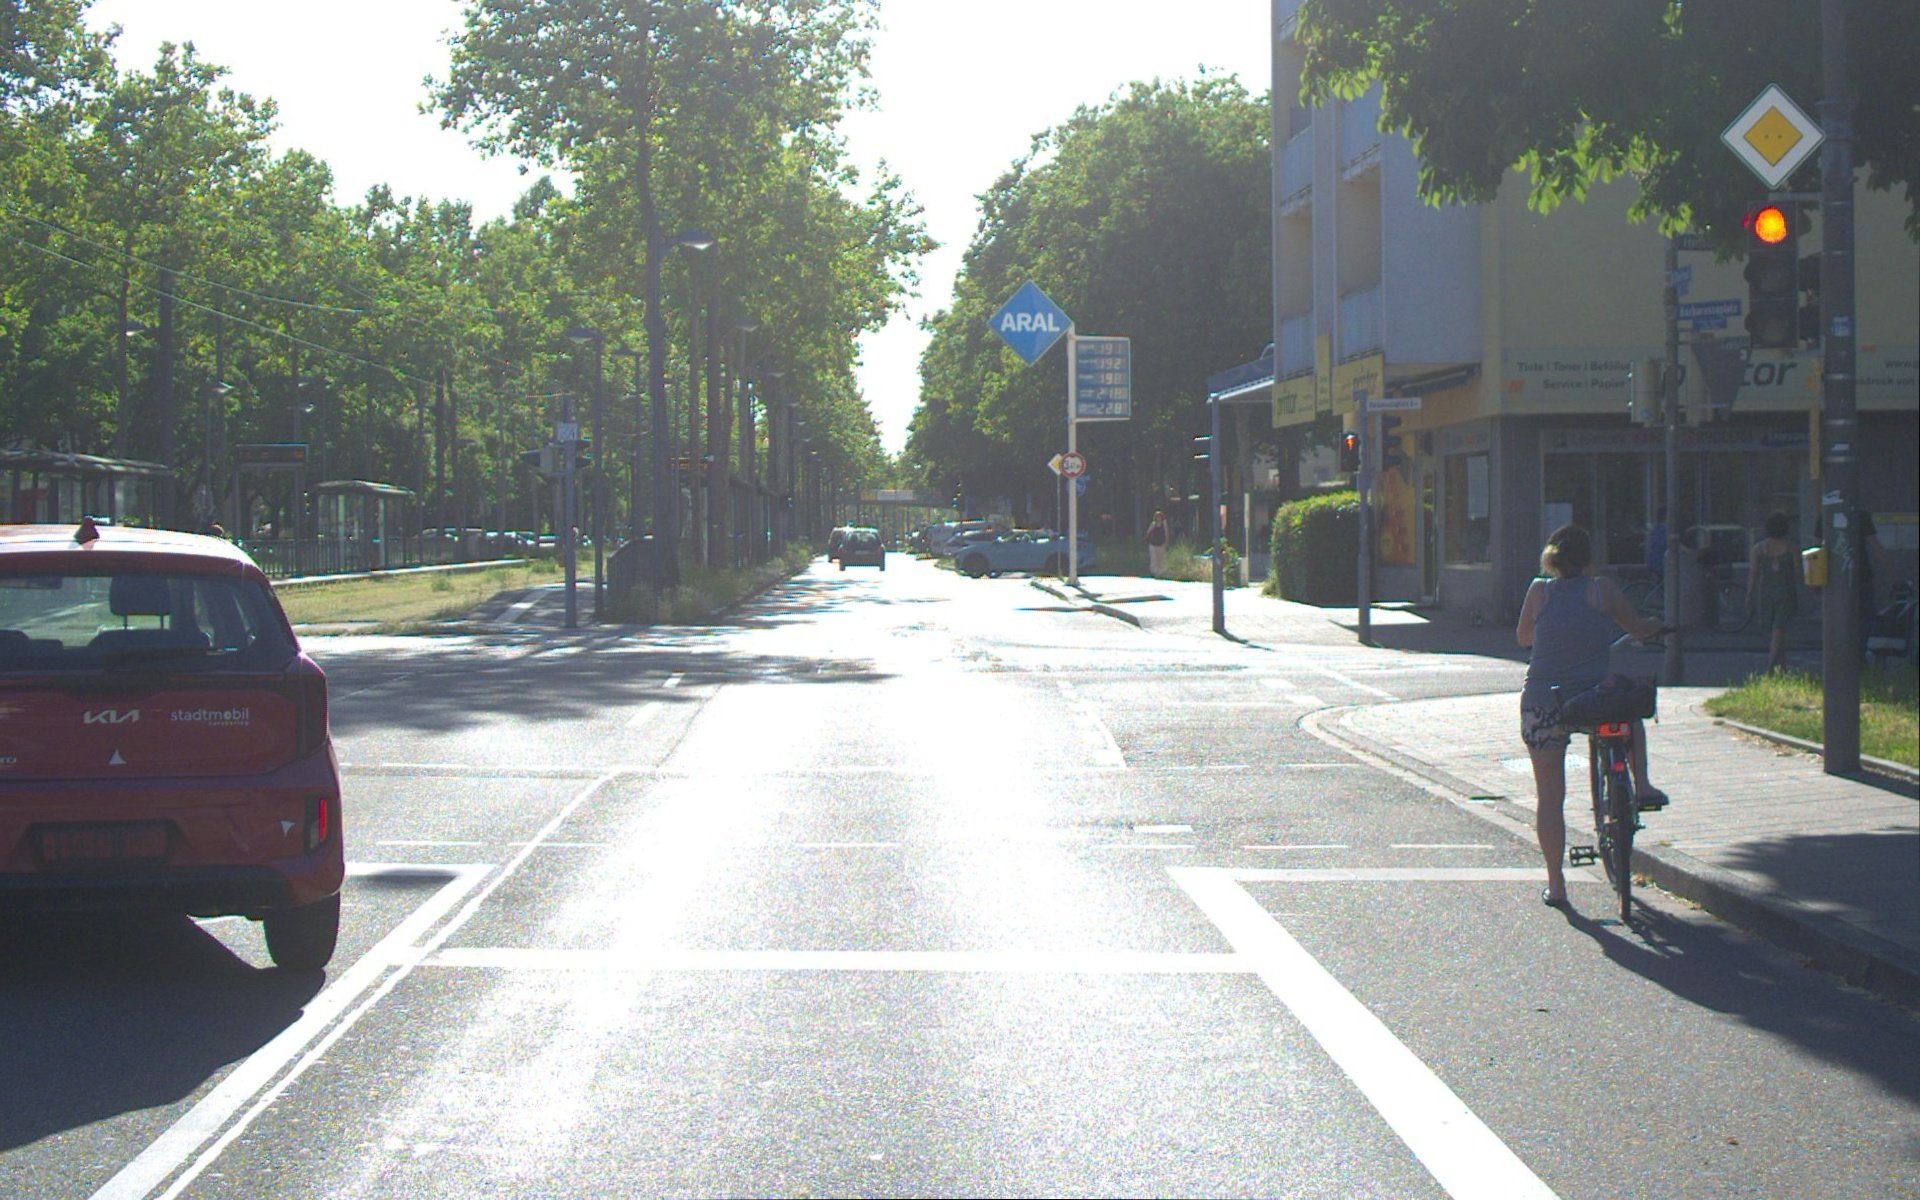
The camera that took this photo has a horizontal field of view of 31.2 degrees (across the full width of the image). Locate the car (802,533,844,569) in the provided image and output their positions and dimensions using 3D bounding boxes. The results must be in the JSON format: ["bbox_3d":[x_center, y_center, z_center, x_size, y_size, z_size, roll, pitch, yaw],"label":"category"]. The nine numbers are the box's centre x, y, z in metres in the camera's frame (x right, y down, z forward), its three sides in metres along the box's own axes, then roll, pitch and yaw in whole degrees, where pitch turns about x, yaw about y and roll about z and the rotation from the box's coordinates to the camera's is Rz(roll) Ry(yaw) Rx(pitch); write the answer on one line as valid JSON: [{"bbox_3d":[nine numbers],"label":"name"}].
[{"bbox_3d":[-6.510,-2.318,162.977,1.894,1.605,4.501,2,1,-2],"label":"car"}]

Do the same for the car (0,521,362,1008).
[{"bbox_3d":[-3.403,0.475,12.529,1.694,1.503,3.700,1,1,-21],"label":"car"}]

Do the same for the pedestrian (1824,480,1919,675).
[{"bbox_3d":[8.042,-0.204,30.330,0.730,1.676,0.532,2,1,11],"label":"pedestrian"}]

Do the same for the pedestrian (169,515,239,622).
[{"bbox_3d":[-11.564,-0.487,52.594,0.891,1.601,0.613,2,1,-1],"label":"pedestrian"}]

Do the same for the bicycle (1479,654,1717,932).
[{"bbox_3d":[2.560,0.748,13.965,0.648,0.969,1.803,2,1,2],"label":"bicycle"}]

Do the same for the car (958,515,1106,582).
[{"bbox_3d":[2.178,-1.545,103.296,3.990,1.853,2.010,2,1,17],"label":"car"}]

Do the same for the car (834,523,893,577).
[{"bbox_3d":[-3.497,-1.826,124.009,1.968,1.853,4.001,2,1,-3],"label":"car"}]

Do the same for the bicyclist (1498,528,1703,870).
[{"bbox_3d":[2.571,0.379,13.863,0.638,1.318,0.803,2,1,1],"label":"bicyclist"}]

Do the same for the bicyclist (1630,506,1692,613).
[{"bbox_3d":[9.810,-0.573,48.116,0.769,1.466,0.897,-1,2,16],"label":"bicyclist"}]

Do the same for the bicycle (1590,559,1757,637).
[{"bbox_3d":[9.984,-0.041,48.111,2.253,0.984,0.788,1,6,14],"label":"bicycle"}]

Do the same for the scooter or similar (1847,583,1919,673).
[{"bbox_3d":[8.073,0.241,29.692,0.598,0.735,0.681,2,1,-2],"label":"scooter or similar"}]

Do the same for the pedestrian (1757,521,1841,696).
[{"bbox_3d":[7.419,0.070,30.426,0.647,1.517,0.496,2,1,11],"label":"pedestrian"}]
